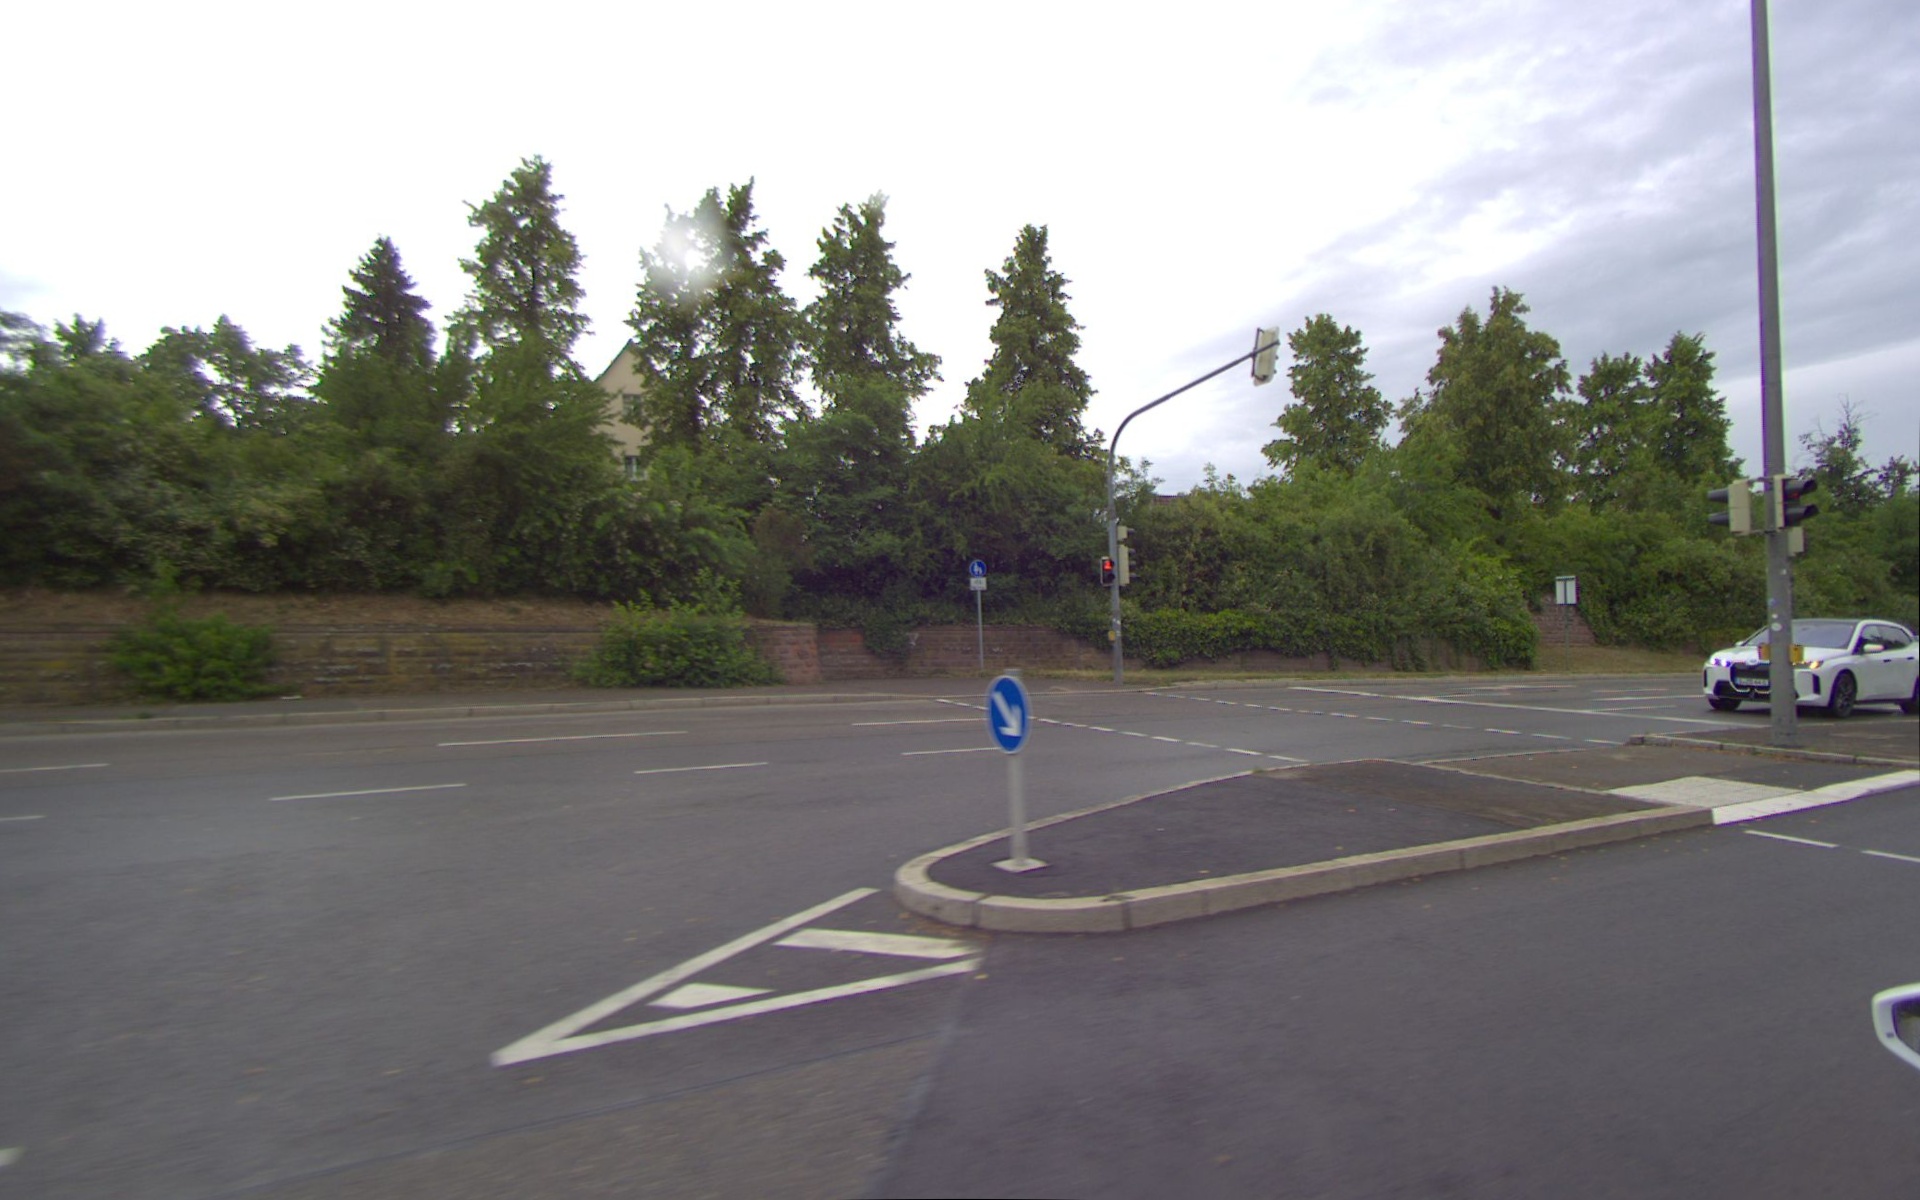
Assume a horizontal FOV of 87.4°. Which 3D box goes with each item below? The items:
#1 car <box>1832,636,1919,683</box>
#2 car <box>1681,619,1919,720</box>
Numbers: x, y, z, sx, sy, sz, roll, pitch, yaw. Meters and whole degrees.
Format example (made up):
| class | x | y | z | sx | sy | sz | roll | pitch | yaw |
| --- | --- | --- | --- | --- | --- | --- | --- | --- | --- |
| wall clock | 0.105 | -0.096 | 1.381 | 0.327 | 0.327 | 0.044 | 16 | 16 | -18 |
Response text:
| class | x | y | z | sx | sy | sz | roll | pitch | yaw |
| --- | --- | --- | --- | --- | --- | --- | --- | --- | --- |
| car | 31.309 | 1.965 | 33.582 | 4.398 | 1.456 | 1.813 | 1 | -2 | -28 |
| car | 15.643 | 1.203 | 18.374 | 4.940 | 1.657 | 1.938 | 1 | -2 | -27 |
